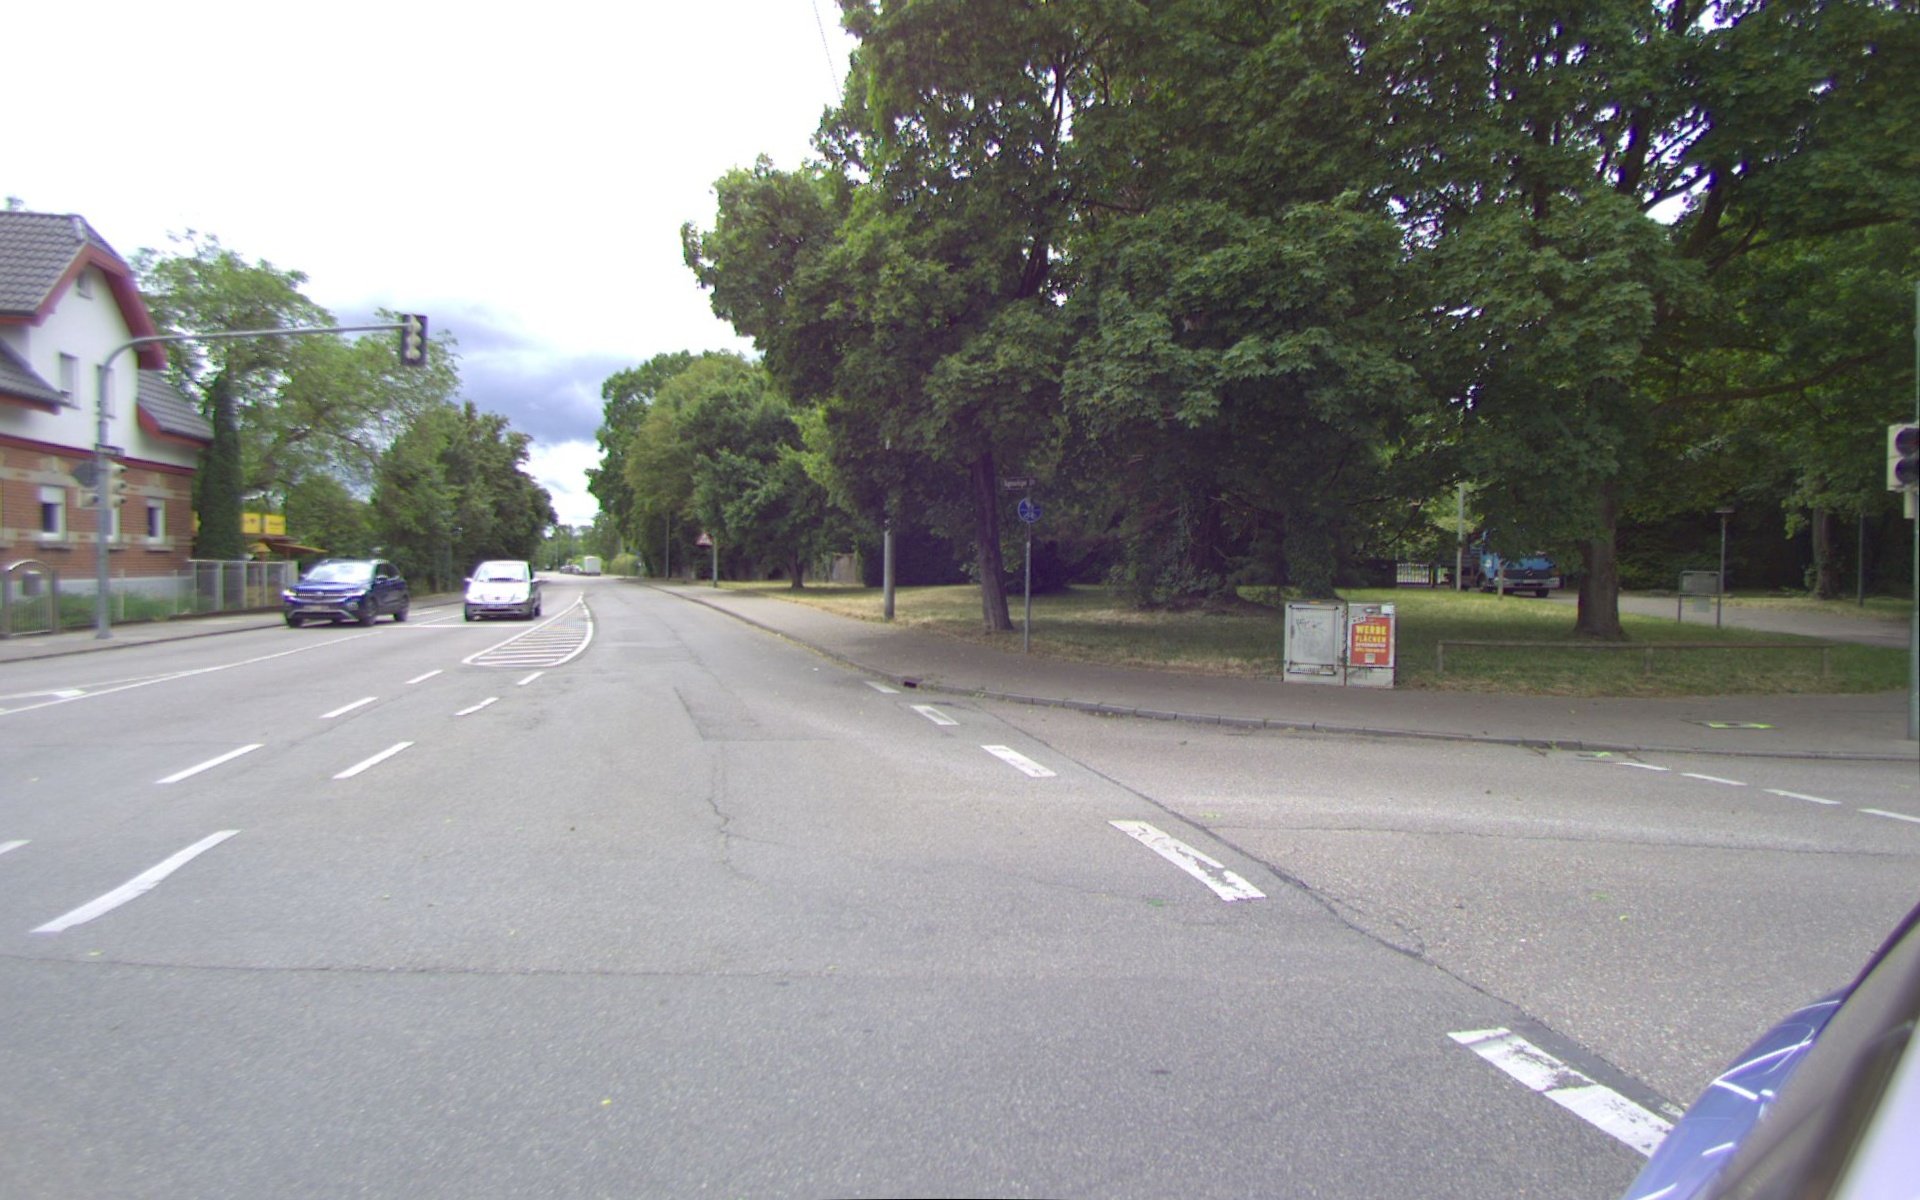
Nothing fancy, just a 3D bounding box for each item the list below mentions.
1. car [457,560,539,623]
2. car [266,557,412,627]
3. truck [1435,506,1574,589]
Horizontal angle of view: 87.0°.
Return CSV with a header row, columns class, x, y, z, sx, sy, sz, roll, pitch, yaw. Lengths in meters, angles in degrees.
class,x,y,z,sx,sy,sz,roll,pitch,yaw
car,-12.504,-0.281,27.590,1.744,1.537,3.566,-2,3,-20
car,-14.824,-0.265,24.413,1.887,1.537,4.010,0,2,-14
truck,20.824,-1.979,39.215,2.443,2.882,7.414,1,2,10
